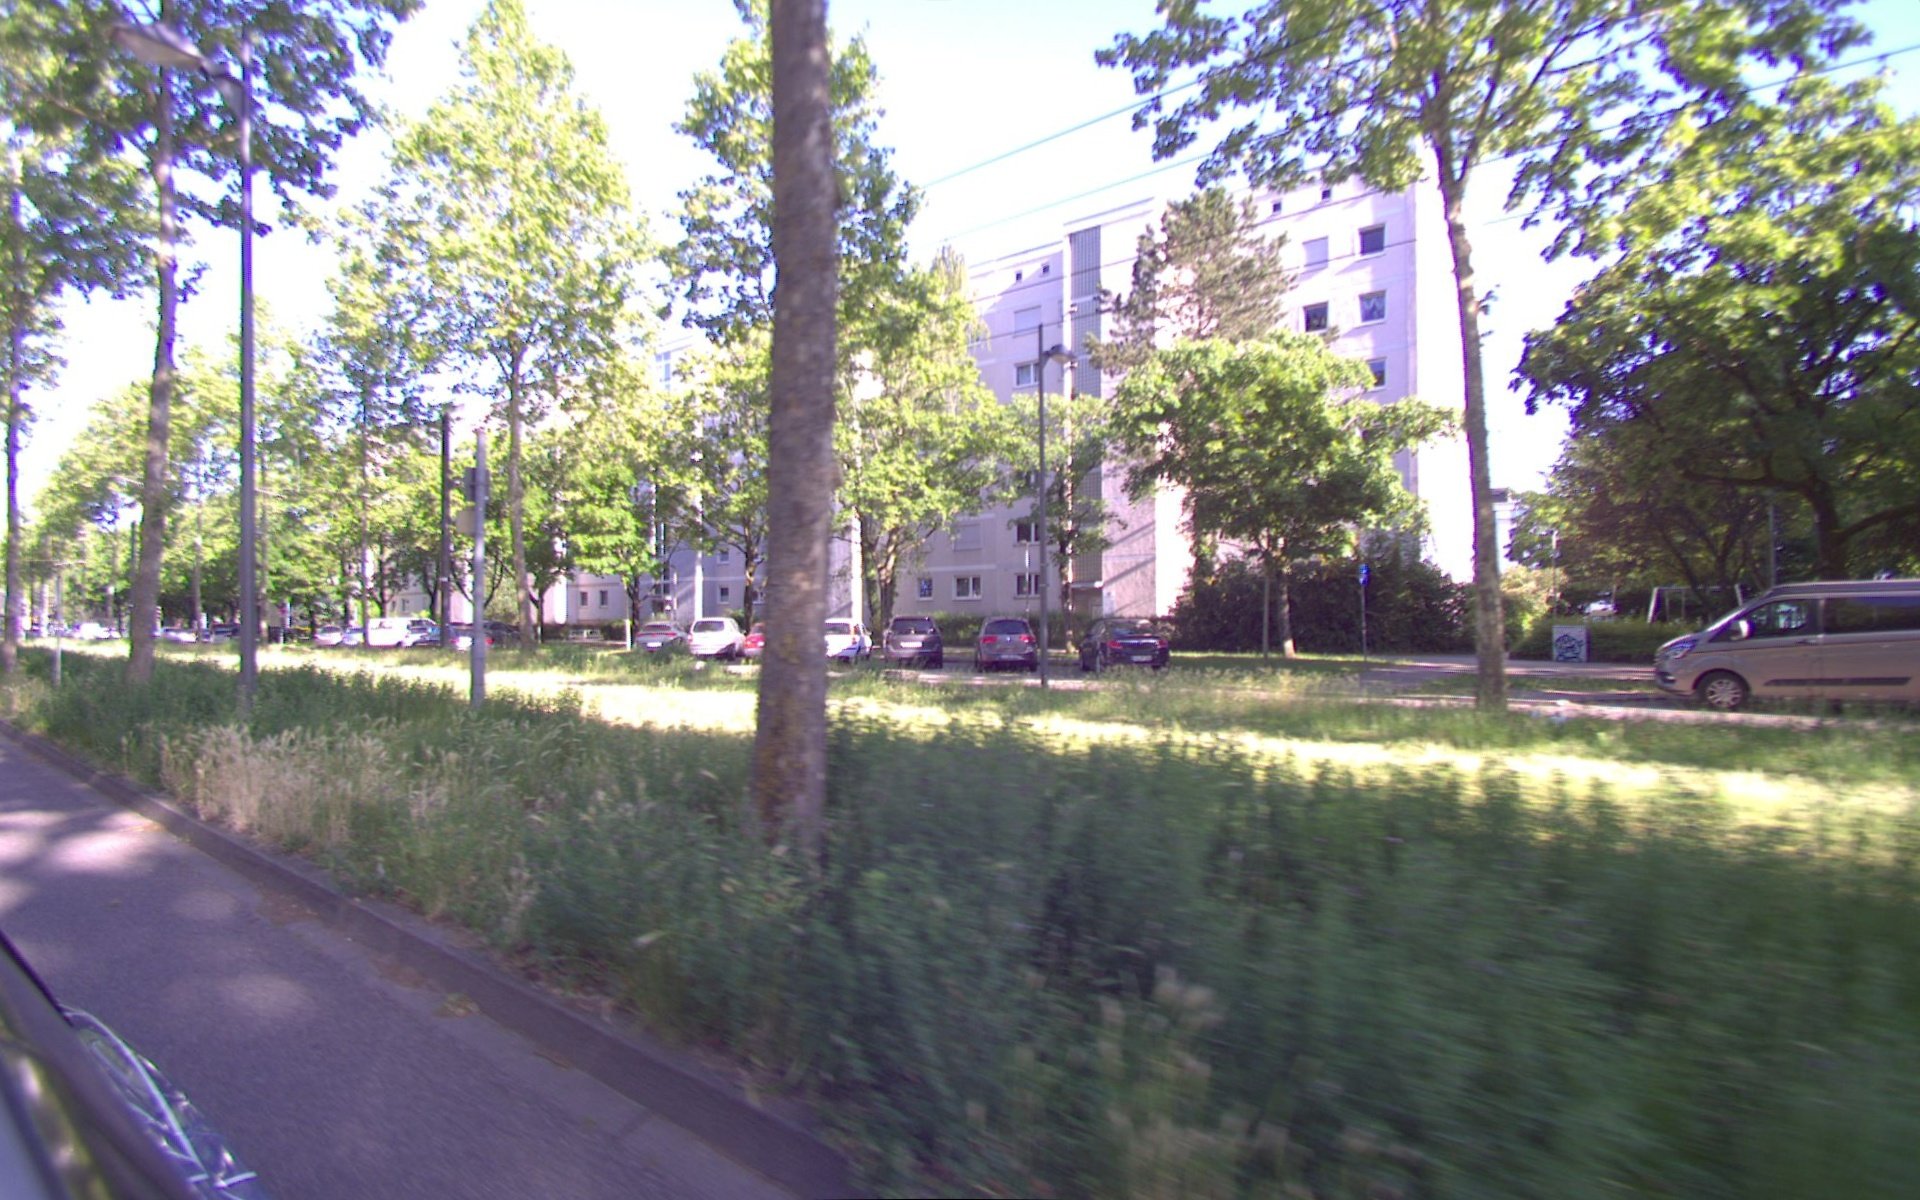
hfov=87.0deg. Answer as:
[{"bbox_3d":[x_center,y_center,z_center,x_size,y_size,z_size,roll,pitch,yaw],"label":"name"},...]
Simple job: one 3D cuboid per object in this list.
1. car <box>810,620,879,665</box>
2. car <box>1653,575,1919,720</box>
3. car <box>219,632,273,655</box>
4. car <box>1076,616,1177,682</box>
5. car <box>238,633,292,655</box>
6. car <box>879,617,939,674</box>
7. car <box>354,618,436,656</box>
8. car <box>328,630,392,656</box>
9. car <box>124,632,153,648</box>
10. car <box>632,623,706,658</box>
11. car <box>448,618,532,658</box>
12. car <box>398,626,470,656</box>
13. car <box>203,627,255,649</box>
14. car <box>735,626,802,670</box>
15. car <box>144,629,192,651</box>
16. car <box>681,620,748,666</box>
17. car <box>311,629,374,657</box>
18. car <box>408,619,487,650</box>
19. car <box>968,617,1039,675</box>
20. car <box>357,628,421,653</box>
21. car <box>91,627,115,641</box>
[{"bbox_3d":[-4.005,1.472,35.787,1.597,1.493,4.480,0,-1,5],"label":"car"},{"bbox_3d":[14.088,0.702,16.034,4.915,2.109,1.627,-2,0,43],"label":"car"},{"bbox_3d":[-56.032,3.426,79.473,1.626,1.658,4.089,-3,-2,-5],"label":"car"},{"bbox_3d":[4.284,1.242,26.721,1.769,1.580,4.488,0,-1,-2],"label":"car"},{"bbox_3d":[-52.956,3.328,77.209,1.626,1.487,4.090,-5,-1,-6],"label":"car"},{"bbox_3d":[-1.588,1.408,32.341,1.769,1.688,4.488,0,-1,-2],"label":"car"},{"bbox_3d":[-32.392,2.092,58.146,1.867,2.022,4.794,-2,-2,3],"label":"car"},{"bbox_3d":[-37.048,2.623,62.588,1.628,1.494,4.085,0,-2,-1],"label":"car"},{"bbox_3d":[-85.817,4.174,105.725,4.199,1.557,1.695,-2,-3,43],"label":"car"},{"bbox_3d":[-11.867,1.619,41.498,1.771,1.348,4.130,0,-1,1],"label":"car"},{"bbox_3d":[-24.235,1.963,52.350,1.973,1.617,4.078,11,-1,6],"label":"car"},{"bbox_3d":[-29.536,2.265,56.982,1.560,1.443,4.077,-2,0,7],"label":"car"},{"bbox_3d":[-58.695,3.033,81.350,1.625,1.658,4.092,1,-2,-8],"label":"car"},{"bbox_3d":[-6.800,1.674,36.258,1.769,1.499,3.922,0,-1,-2],"label":"car"},{"bbox_3d":[-58.978,2.966,75.341,4.082,1.518,1.904,-2,-4,40],"label":"car"},{"bbox_3d":[-9.474,1.654,39.384,1.761,1.688,3.980,0,-1,-2],"label":"car"},{"bbox_3d":[-39.654,2.728,65.108,1.628,1.658,4.085,-2,-2,-1],"label":"car"},{"bbox_3d":[-27.314,1.853,54.080,1.796,1.542,4.076,-2,-2,7],"label":"car"},{"bbox_3d":[1.216,1.321,30.048,1.769,1.580,4.488,0,-1,-2],"label":"car"},{"bbox_3d":[-34.500,2.418,61.225,1.557,1.443,4.085,1,-2,-1],"label":"car"},{"bbox_3d":[-95.303,3.792,112.535,3.934,1.557,1.695,-2,-3,44],"label":"car"}]
